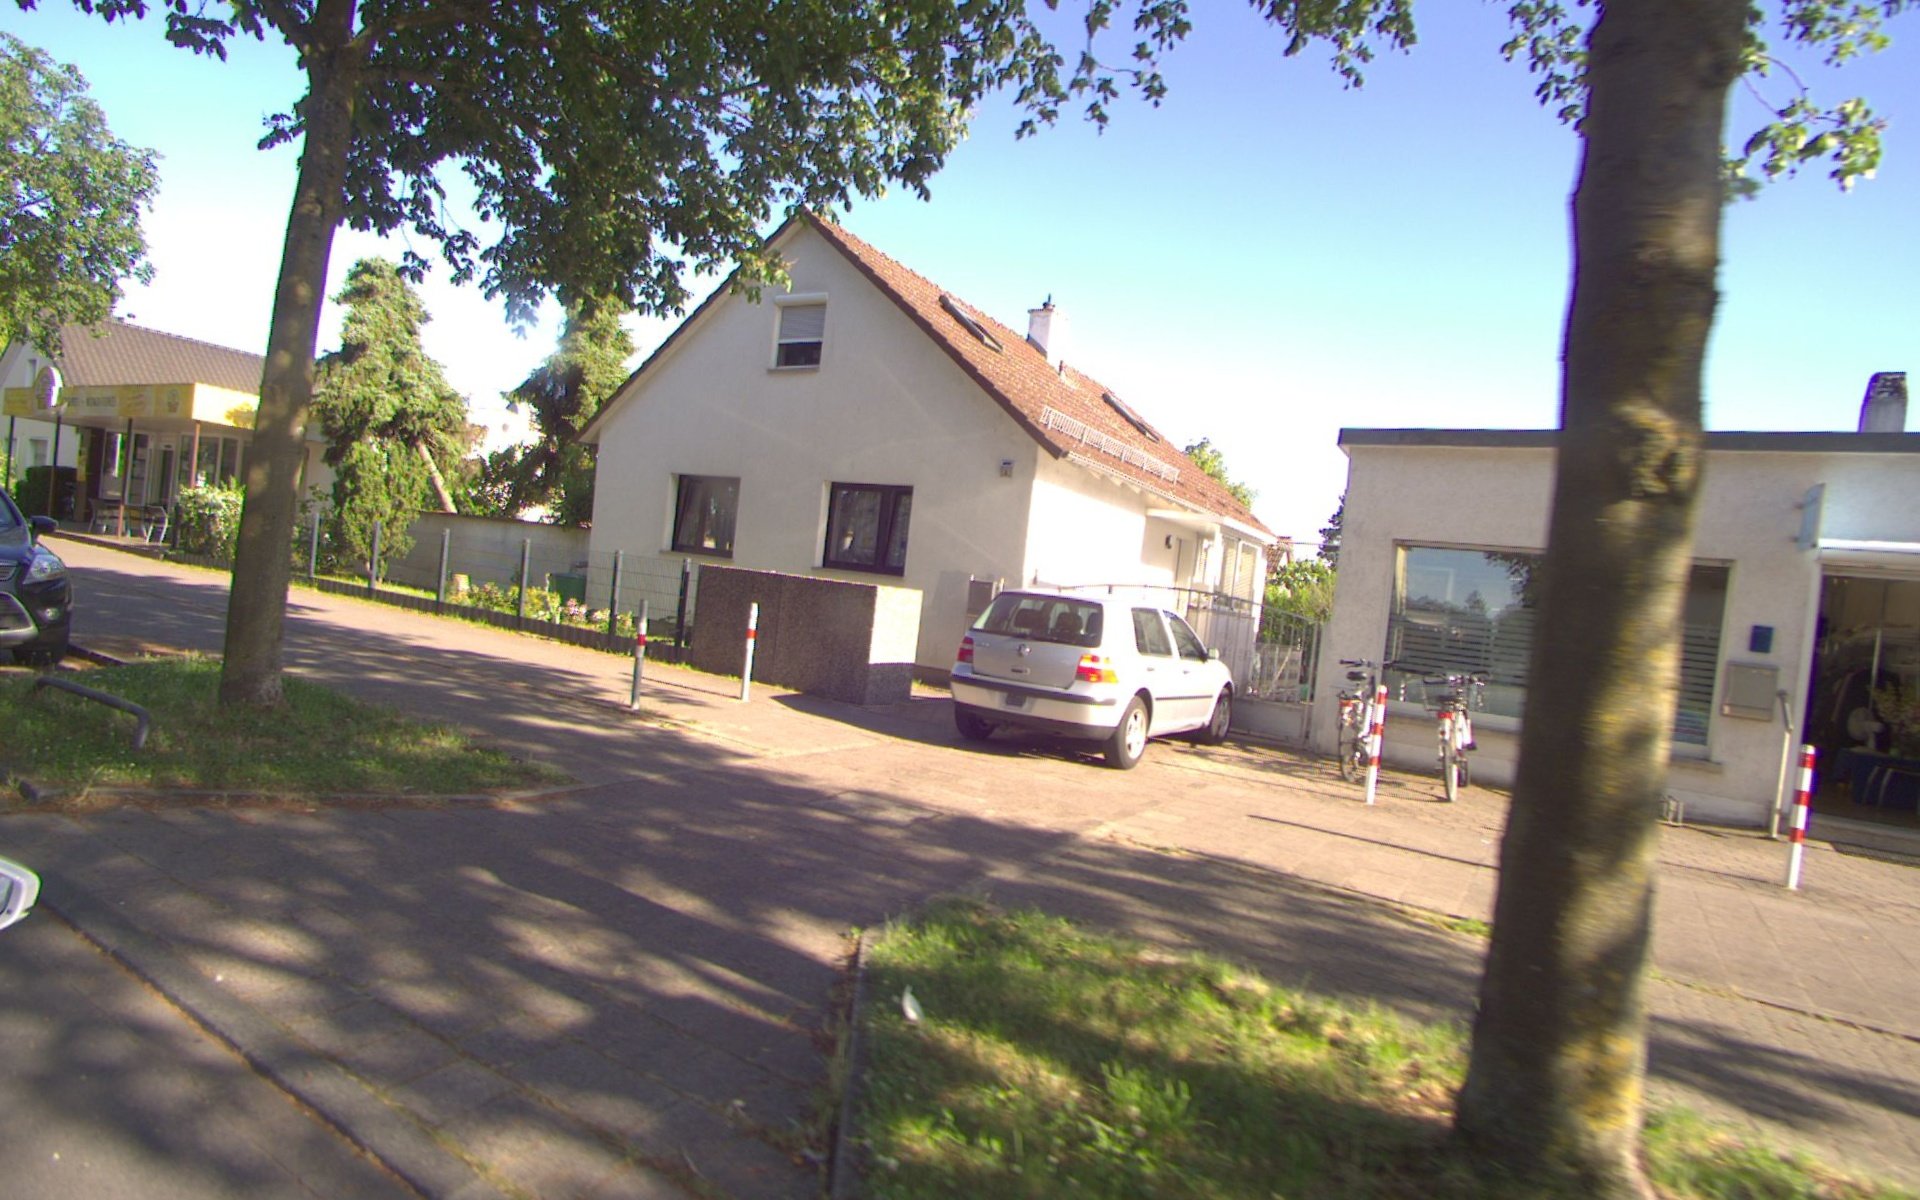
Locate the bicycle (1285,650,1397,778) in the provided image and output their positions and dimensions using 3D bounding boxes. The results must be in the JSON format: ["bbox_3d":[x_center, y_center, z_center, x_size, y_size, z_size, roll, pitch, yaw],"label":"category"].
[{"bbox_3d":[3.707,1.037,9.693,0.566,1.012,1.924,9,3,30],"label":"bicycle"}]

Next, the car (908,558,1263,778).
[{"bbox_3d":[1.442,0.555,9.926,1.870,1.509,3.988,9,3,31],"label":"car"}]

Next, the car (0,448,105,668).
[{"bbox_3d":[-9.193,-0.521,8.412,4.396,1.647,1.853,6,2,32],"label":"car"}]

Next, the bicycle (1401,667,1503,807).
[{"bbox_3d":[4.551,1.195,9.239,0.566,1.012,1.958,9,3,30],"label":"bicycle"}]
